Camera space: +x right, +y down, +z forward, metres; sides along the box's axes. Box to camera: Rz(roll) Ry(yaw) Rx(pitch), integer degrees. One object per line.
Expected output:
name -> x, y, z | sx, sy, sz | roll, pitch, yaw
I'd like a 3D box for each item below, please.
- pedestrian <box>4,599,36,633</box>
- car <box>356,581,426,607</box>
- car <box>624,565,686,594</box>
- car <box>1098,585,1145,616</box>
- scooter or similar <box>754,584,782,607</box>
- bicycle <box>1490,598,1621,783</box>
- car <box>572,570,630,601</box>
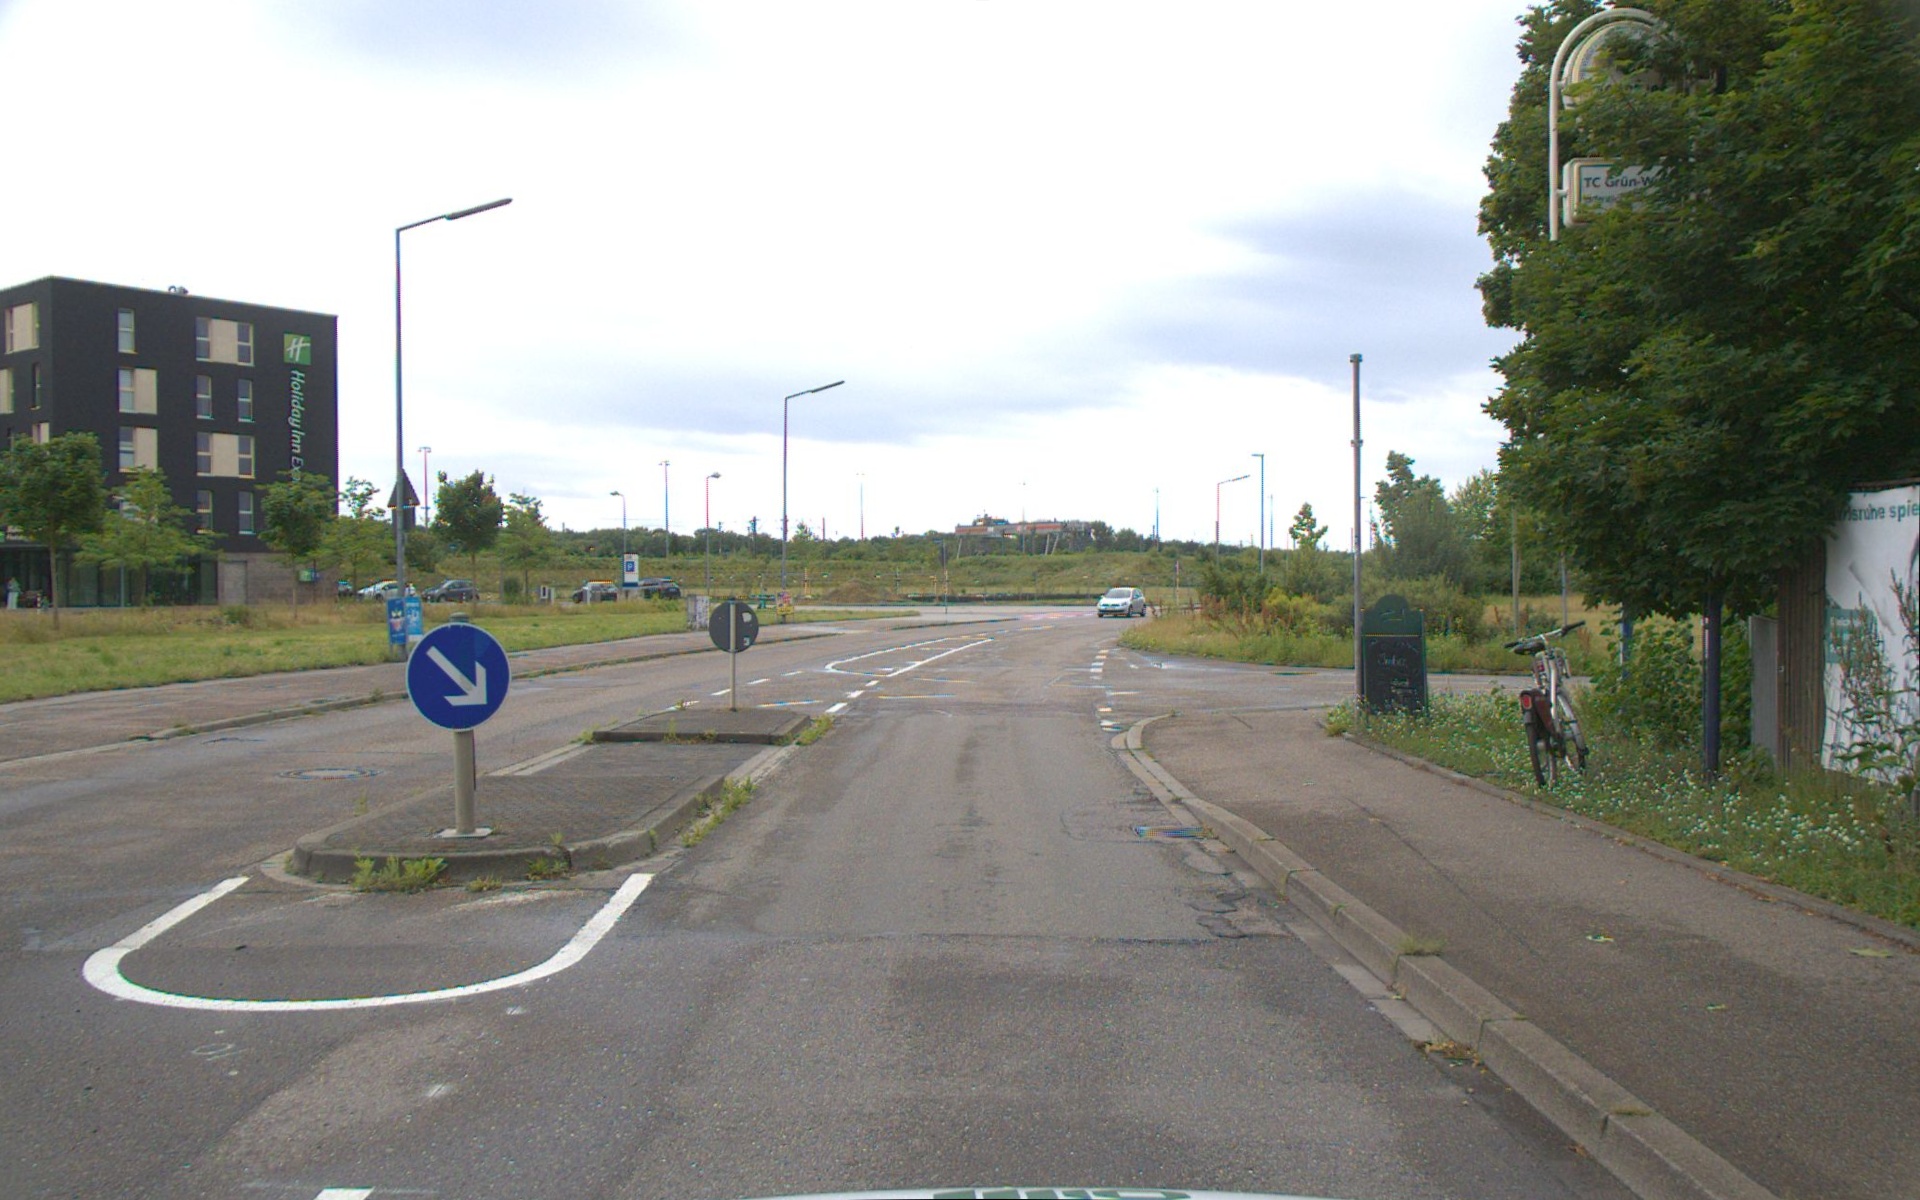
pedestrian -> -44.940, 0.765, 79.070 | 0.931, 1.598, 0.876 | 0, 2, 21
car -> -37.666, -0.415, 109.588 | 1.956, 1.543, 4.146 | 0, 2, 30
car -> -20.038, -1.350, 108.579 | 3.925, 1.854, 1.991 | 1, 2, 39
car -> 8.323, -0.010, 85.147 | 1.636, 1.487, 4.059 | 2, 1, 16
scooter or similar -> -10.330, -0.250, 88.984 | 1.431, 1.188, 0.572 | 1, 1, 13
bicycle -> 4.132, 0.571, 11.495 | 0.779, 1.130, 1.953 | -1, 1, 20
car -> -24.394, -0.993, 112.379 | 3.932, 2.048, 1.987 | 1, 2, 44
